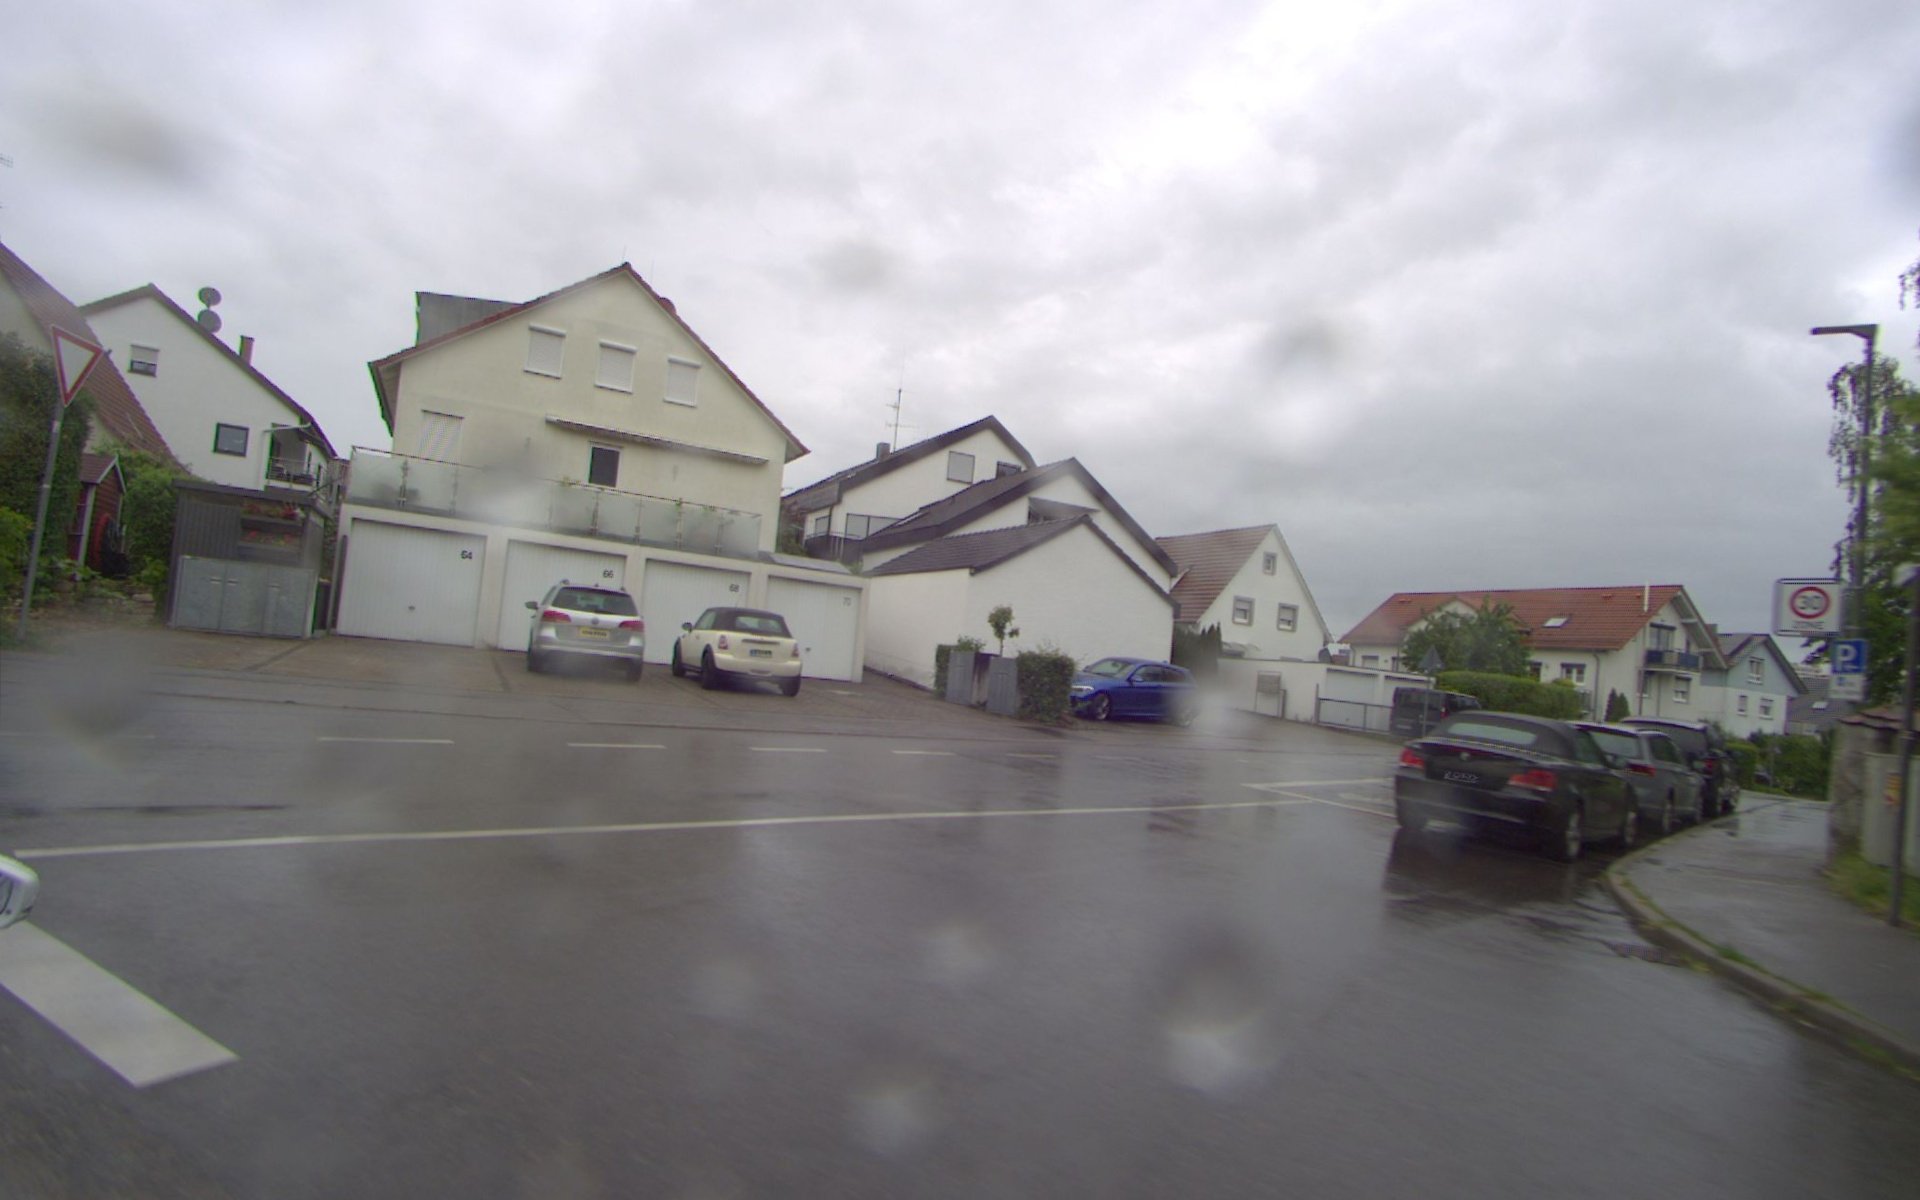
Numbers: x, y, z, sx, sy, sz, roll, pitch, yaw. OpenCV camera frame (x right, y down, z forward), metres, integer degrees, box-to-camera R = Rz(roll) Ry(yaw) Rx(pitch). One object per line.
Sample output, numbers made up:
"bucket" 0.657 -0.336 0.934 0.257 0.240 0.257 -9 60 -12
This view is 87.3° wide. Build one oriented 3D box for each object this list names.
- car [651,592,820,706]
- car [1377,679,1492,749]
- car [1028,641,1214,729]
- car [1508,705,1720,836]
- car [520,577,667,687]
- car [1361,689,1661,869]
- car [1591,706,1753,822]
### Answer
"car" -4.256 0.831 18.550 1.977 1.548 3.973 9 -1 -27
"car" 16.209 3.903 34.279 3.971 2.038 1.977 7 -1 -41
"car" 3.753 1.974 23.262 3.965 1.481 1.852 9 -2 -34
"car" 10.061 2.553 15.327 1.809 1.458 4.374 6 -3 44
"car" -6.395 0.472 17.251 1.974 1.415 4.127 7 0 -24
"car" 6.435 1.989 11.521 4.143 1.458 1.810 10 -3 -45
"car" 13.928 3.159 19.571 1.809 1.747 4.444 6 -3 44
